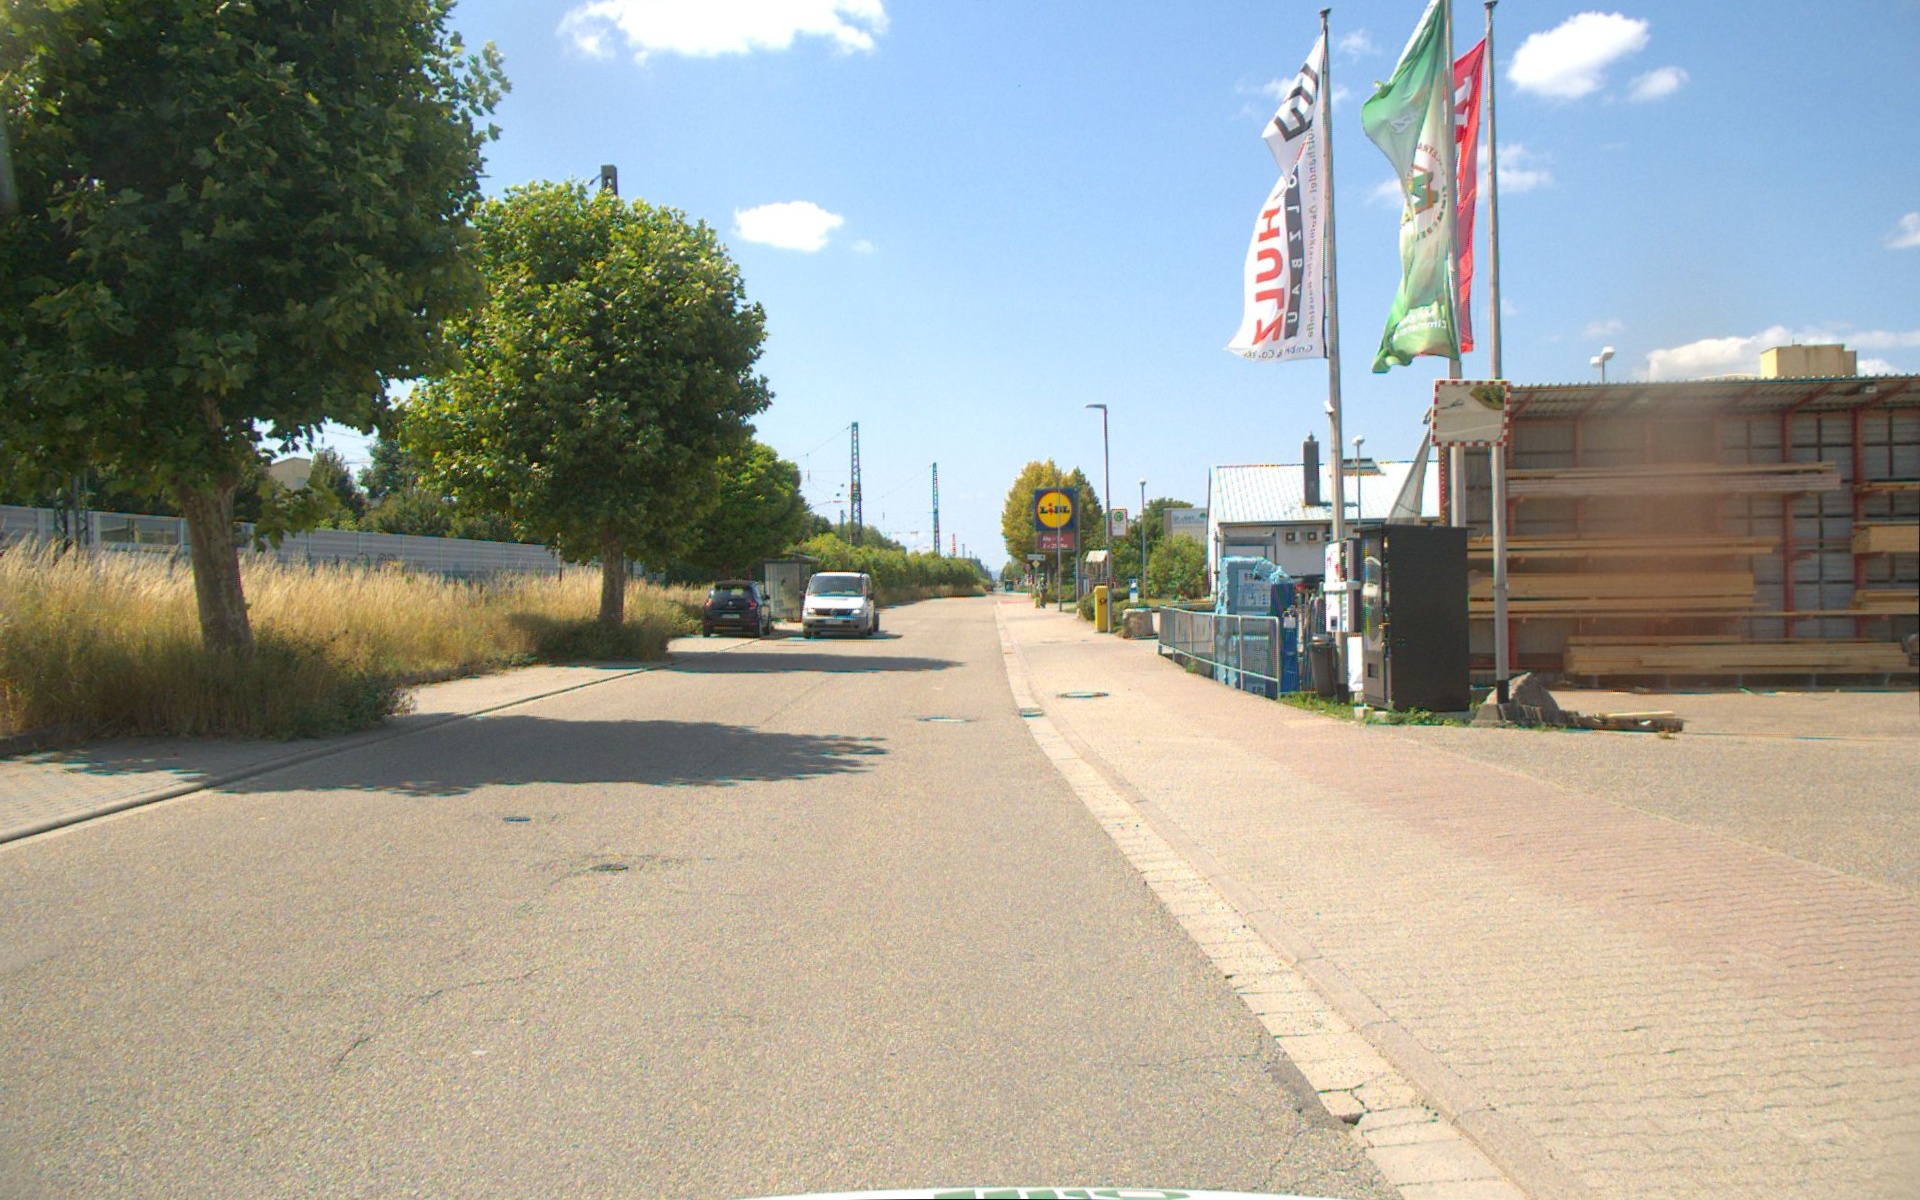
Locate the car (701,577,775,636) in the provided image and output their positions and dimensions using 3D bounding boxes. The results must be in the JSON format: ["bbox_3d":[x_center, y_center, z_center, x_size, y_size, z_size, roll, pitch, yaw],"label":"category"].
[{"bbox_3d":[-6.336,0.151,47.533,1.706,1.624,3.578,0,1,-1],"label":"car"}]

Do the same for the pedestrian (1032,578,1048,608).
[{"bbox_3d":[4.334,-0.391,90.013,0.746,1.630,1.210,-1,0,-2],"label":"pedestrian"}]

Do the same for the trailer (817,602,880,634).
[{"bbox_3d":[-3.521,0.551,52.713,1.781,0.865,4.222,-2,1,-1],"label":"trailer"}]

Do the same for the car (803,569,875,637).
[{"bbox_3d":[-3.489,0.070,48.331,1.801,1.890,4.483,0,0,-1],"label":"car"}]
